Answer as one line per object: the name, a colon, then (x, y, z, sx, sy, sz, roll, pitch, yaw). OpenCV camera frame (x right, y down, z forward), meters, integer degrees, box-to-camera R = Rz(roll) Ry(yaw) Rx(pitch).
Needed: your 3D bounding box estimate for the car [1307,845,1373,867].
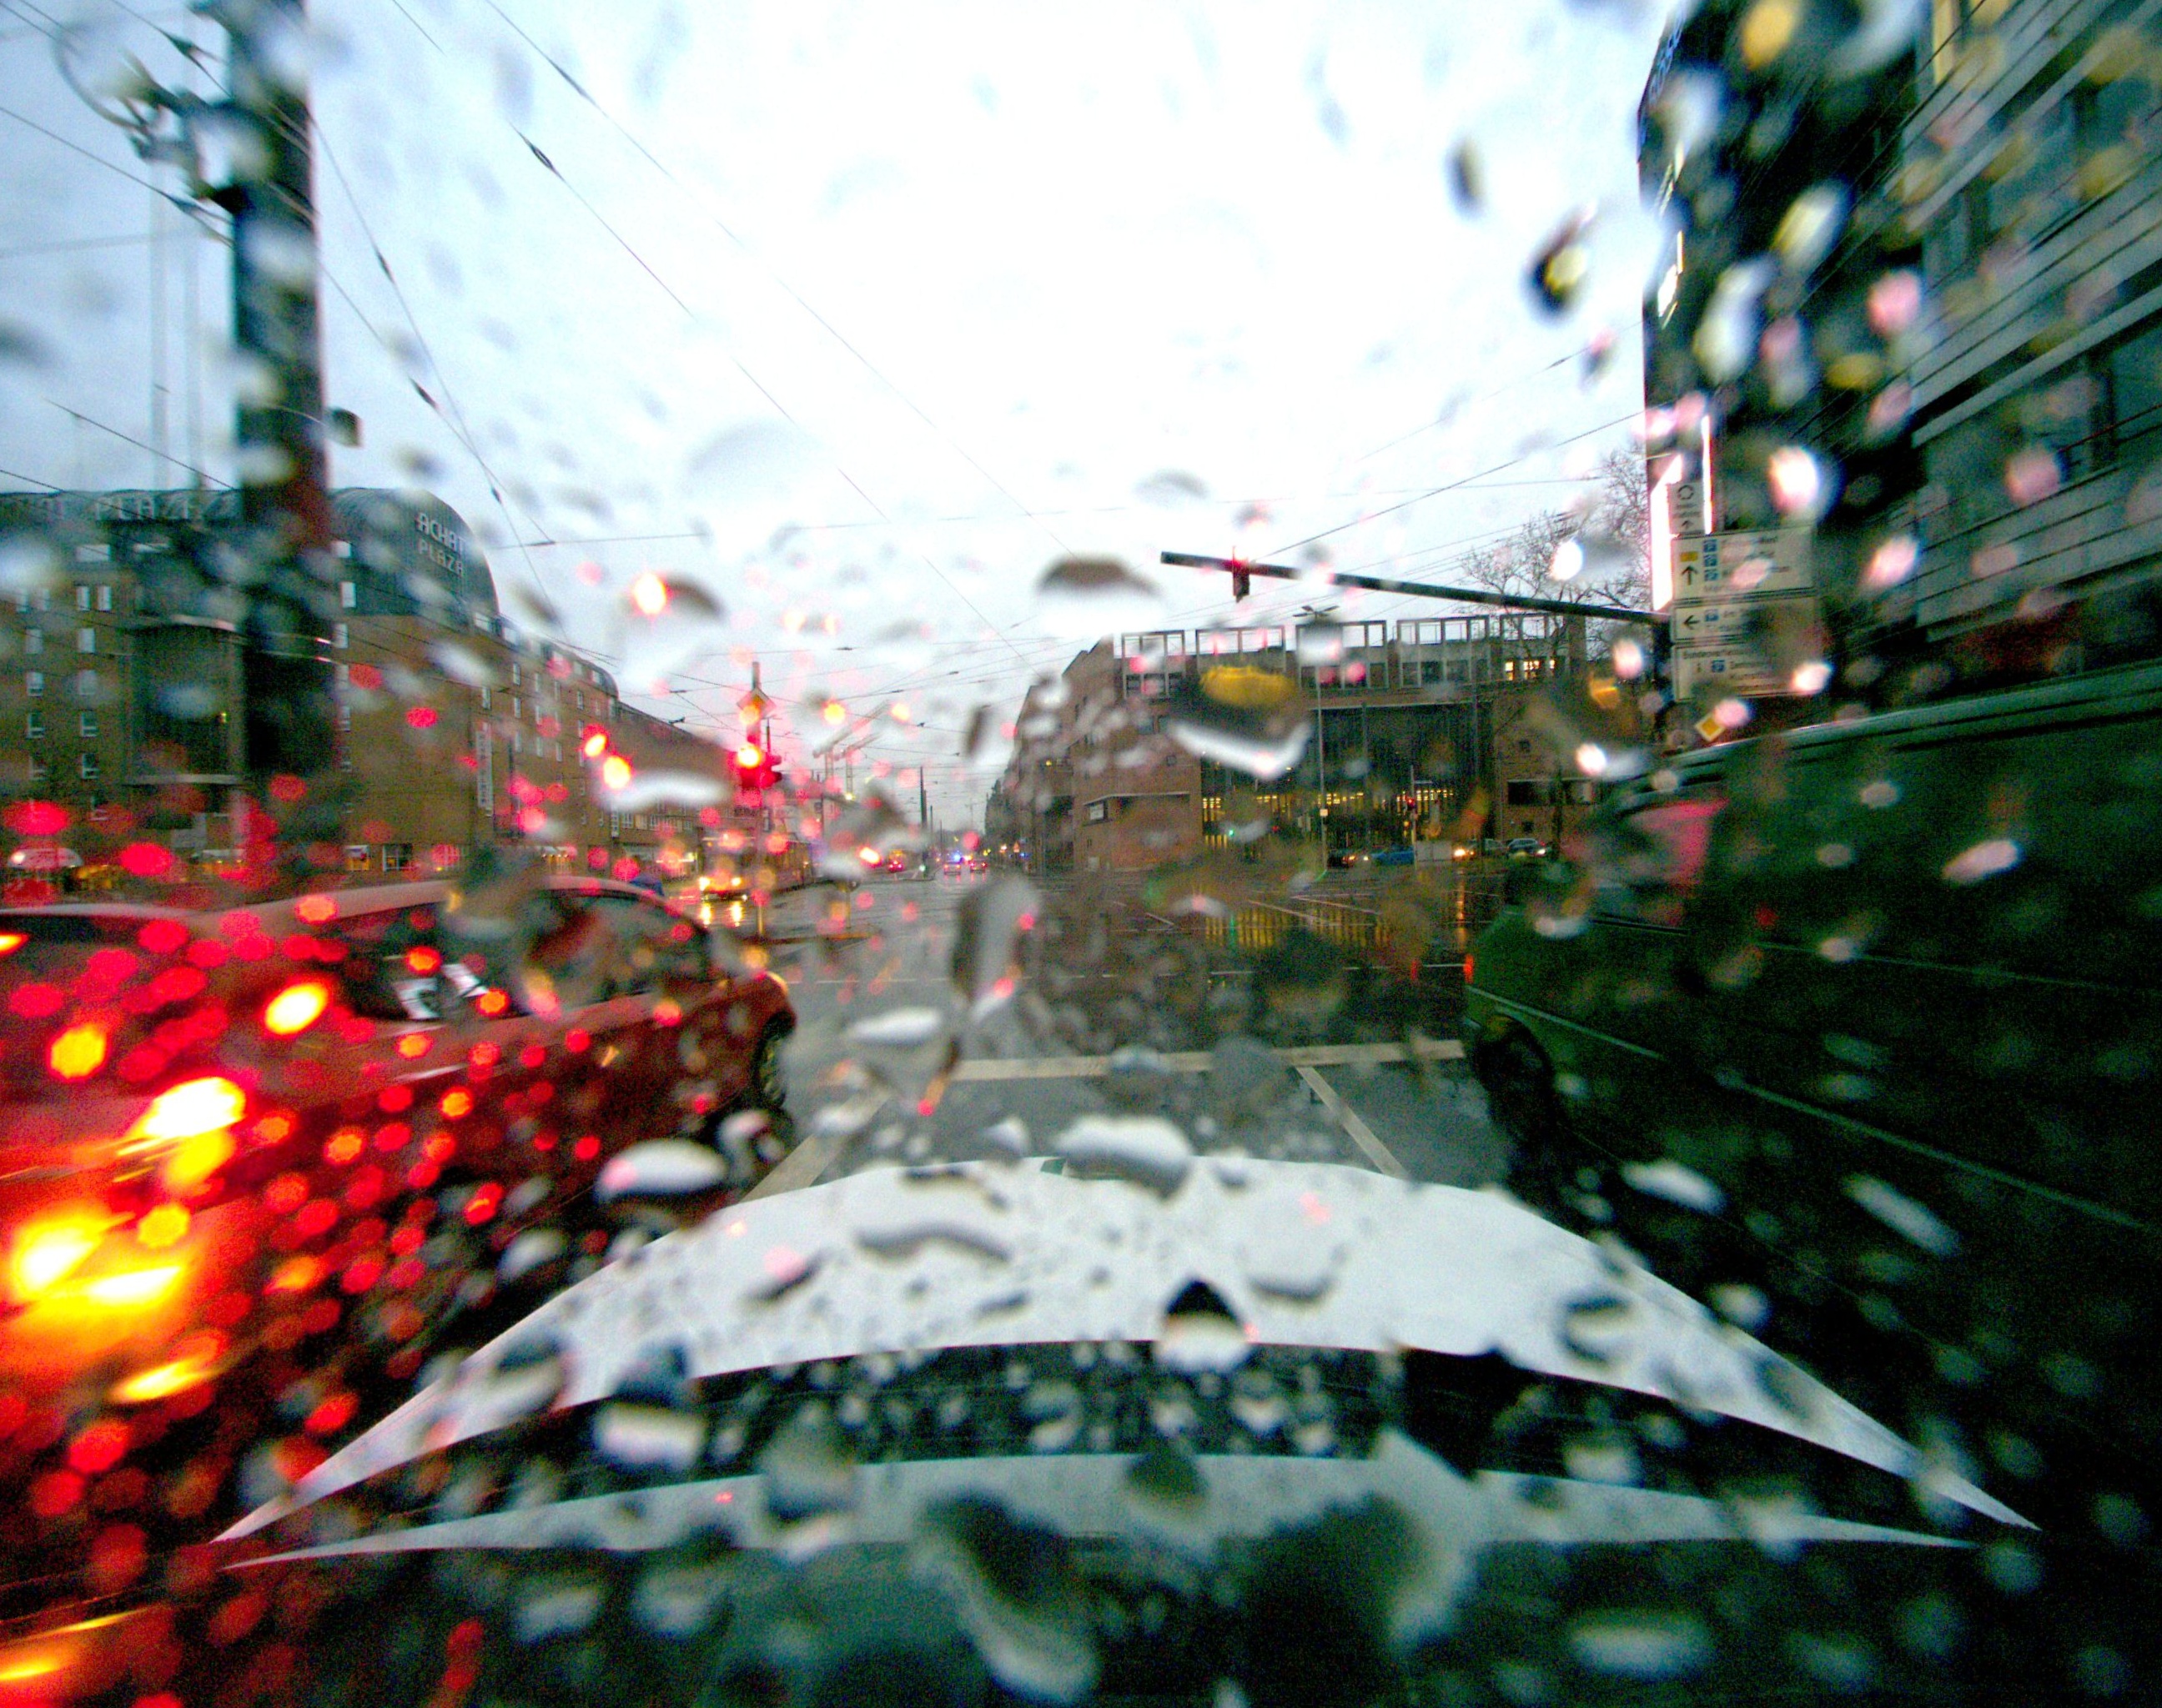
car: (18.240, 0.138, 57.439, 3.977, 1.310, 1.998, -2, 0, -2)

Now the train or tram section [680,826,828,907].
train or tram section: (-18.085, 0.633, 47.323, 2.862, 3.614, 20.019, -2, 0, -7)

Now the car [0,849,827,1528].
car: (-2.668, 0.751, 3.662, 1.691, 1.459, 3.759, -2, 0, 2)

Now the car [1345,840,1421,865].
car: (18.321, -0.112, 49.519, 3.979, 1.262, 1.845, -2, 4, -4)

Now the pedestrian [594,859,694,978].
pedestrian: (-6.367, 0.916, 11.888, 0.707, 1.601, 1.043, -5, -1, 43)

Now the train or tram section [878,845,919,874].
train or tram section: (-25.286, 0.785, 114.613, 3.189, 3.436, 27.752, -2, 0, -8)

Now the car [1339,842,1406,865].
car: (19.146, -0.021, 53.590, 3.713, 1.262, 1.845, -2, 4, -4)

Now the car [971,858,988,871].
car: (-12.105, 1.233, 97.130, 1.868, 1.578, 3.991, 0, 0, -6)

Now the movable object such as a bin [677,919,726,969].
movable object such as a bin: (-5.825, 1.368, 12.510, 0.407, 0.699, 0.541, -5, -2, 42)

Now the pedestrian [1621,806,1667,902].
pedestrian: (13.139, 0.007, 19.024, 0.574, 2.184, 0.619, -1, -1, -4)

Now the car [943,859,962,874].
car: (-13.636, 1.303, 86.479, 1.869, 1.578, 3.989, 0, 0, -8)

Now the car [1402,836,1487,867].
car: (20.449, -0.173, 45.891, 3.979, 1.504, 1.845, -2, 4, -4)

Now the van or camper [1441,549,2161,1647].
van or camper: (2.771, 0.415, 2.201, 1.750, 1.906, 4.420, -1, 0, 2)
